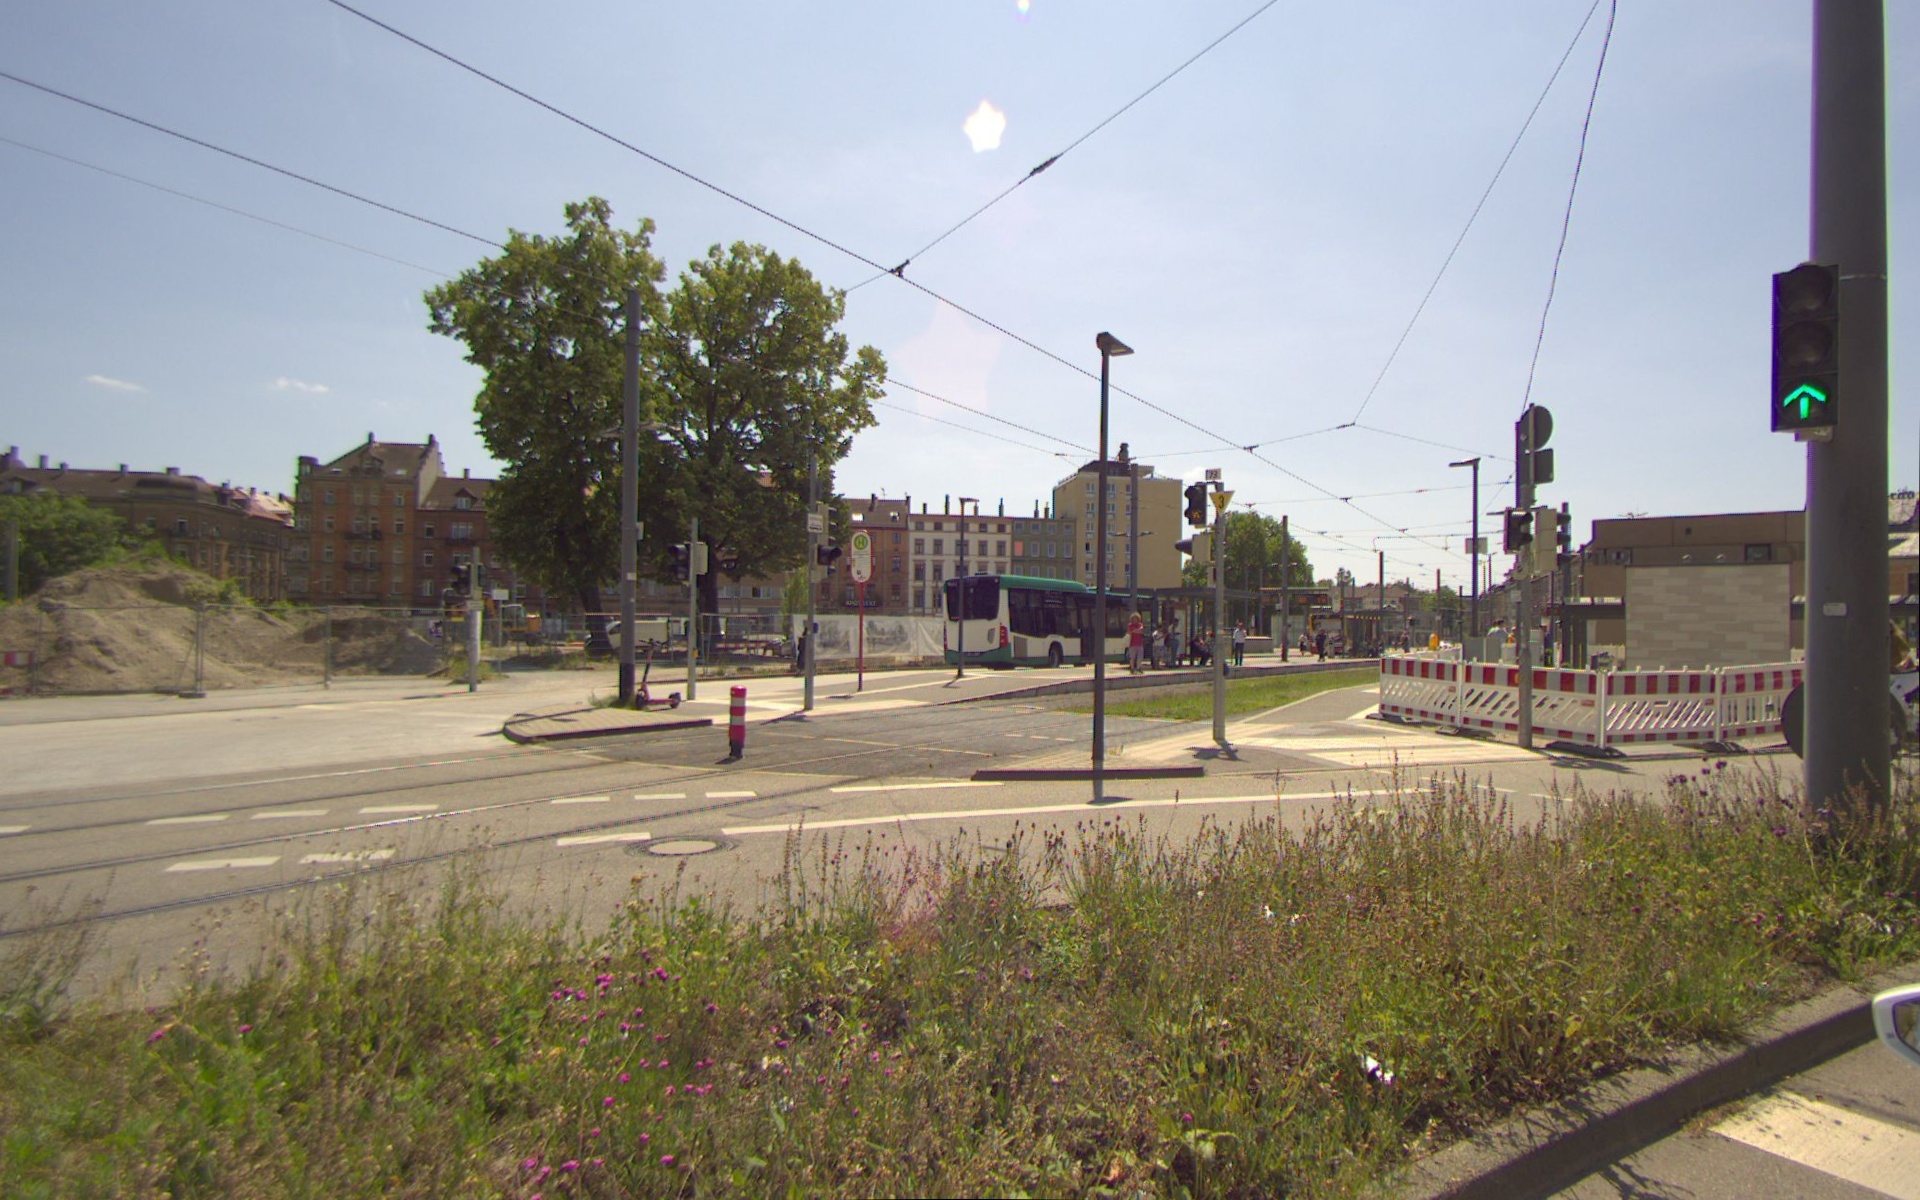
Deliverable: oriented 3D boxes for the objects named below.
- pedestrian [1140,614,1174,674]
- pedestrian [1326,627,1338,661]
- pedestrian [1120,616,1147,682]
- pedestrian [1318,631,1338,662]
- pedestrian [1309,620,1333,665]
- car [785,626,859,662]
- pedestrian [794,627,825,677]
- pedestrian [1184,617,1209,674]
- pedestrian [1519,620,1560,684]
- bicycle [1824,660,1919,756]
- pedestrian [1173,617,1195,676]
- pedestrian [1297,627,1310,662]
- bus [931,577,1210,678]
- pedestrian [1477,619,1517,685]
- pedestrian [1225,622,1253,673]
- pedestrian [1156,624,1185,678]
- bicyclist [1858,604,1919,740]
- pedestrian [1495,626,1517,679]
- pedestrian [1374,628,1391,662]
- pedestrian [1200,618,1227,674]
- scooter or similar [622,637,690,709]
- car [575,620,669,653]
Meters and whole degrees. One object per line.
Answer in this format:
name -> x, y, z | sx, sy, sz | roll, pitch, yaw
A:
pedestrian -> 6.769, 1.505, 34.513 | 0.927, 2.016, 1.028 | 0, -2, 25
pedestrian -> 21.821, 2.583, 58.939 | 0.582, 1.959, 0.588 | 0, -2, 11
pedestrian -> 5.187, 1.465, 29.999 | 0.662, 1.934, 0.640 | 0, -2, 25
pedestrian -> 21.997, 2.761, 60.049 | 0.954, 1.859, 0.778 | 0, -2, 11
pedestrian -> 17.635, 2.068, 49.026 | 0.888, 2.124, 0.828 | -1, -2, 40
car -> -7.390, 2.310, 53.469 | 1.838, 1.671, 4.143 | 2, -1, -43
pedestrian -> -4.958, 1.694, 33.097 | 0.599, 1.623, 0.820 | -1, -2, 45
pedestrian -> 8.924, 1.713, 37.896 | 0.811, 2.124, 0.641 | 0, -2, 24
pedestrian -> 17.106, 1.530, 29.668 | 0.961, 1.856, 0.633 | 0, -2, 21
bicycle -> 12.110, 1.383, 13.121 | 1.742, 1.189, 0.397 | 1, -1, -18
pedestrian -> 8.275, 1.709, 37.124 | 0.688, 2.124, 0.644 | 0, -2, 24
pedestrian -> 21.054, 2.728, 61.607 | 0.692, 2.139, 0.657 | 0, -2, 11
bus -> 5.247, 1.160, 39.703 | 2.970, 3.199, 17.442 | -1, -2, 35
pedestrian -> 15.671, 1.502, 29.323 | 0.753, 1.888, 0.730 | 2, -2, -6
pedestrian -> 11.794, 2.002, 42.497 | 0.888, 2.124, 0.828 | -1, -2, 40
pedestrian -> 7.503, 1.799, 35.735 | 0.897, 1.876, 0.657 | 0, -2, 25
bicyclist -> 12.360, 0.940, 13.201 | 0.498, 1.741, 0.567 | 1, -4, -14
pedestrian -> 20.723, 1.985, 38.132 | 0.708, 1.948, 1.072 | 0, -2, 30
pedestrian -> 26.655, 2.860, 63.417 | 0.818, 2.124, 0.899 | -1, -2, 34
pedestrian -> 9.716, 1.750, 38.529 | 0.885, 2.124, 0.831 | 0, -2, 24
scooter or similar -> -5.309, 1.258, 17.591 | 0.314, 1.222, 1.246 | -1, -2, 30
car -> -20.222, 2.175, 60.180 | 4.989, 1.909, 2.097 | 2, -2, -36
